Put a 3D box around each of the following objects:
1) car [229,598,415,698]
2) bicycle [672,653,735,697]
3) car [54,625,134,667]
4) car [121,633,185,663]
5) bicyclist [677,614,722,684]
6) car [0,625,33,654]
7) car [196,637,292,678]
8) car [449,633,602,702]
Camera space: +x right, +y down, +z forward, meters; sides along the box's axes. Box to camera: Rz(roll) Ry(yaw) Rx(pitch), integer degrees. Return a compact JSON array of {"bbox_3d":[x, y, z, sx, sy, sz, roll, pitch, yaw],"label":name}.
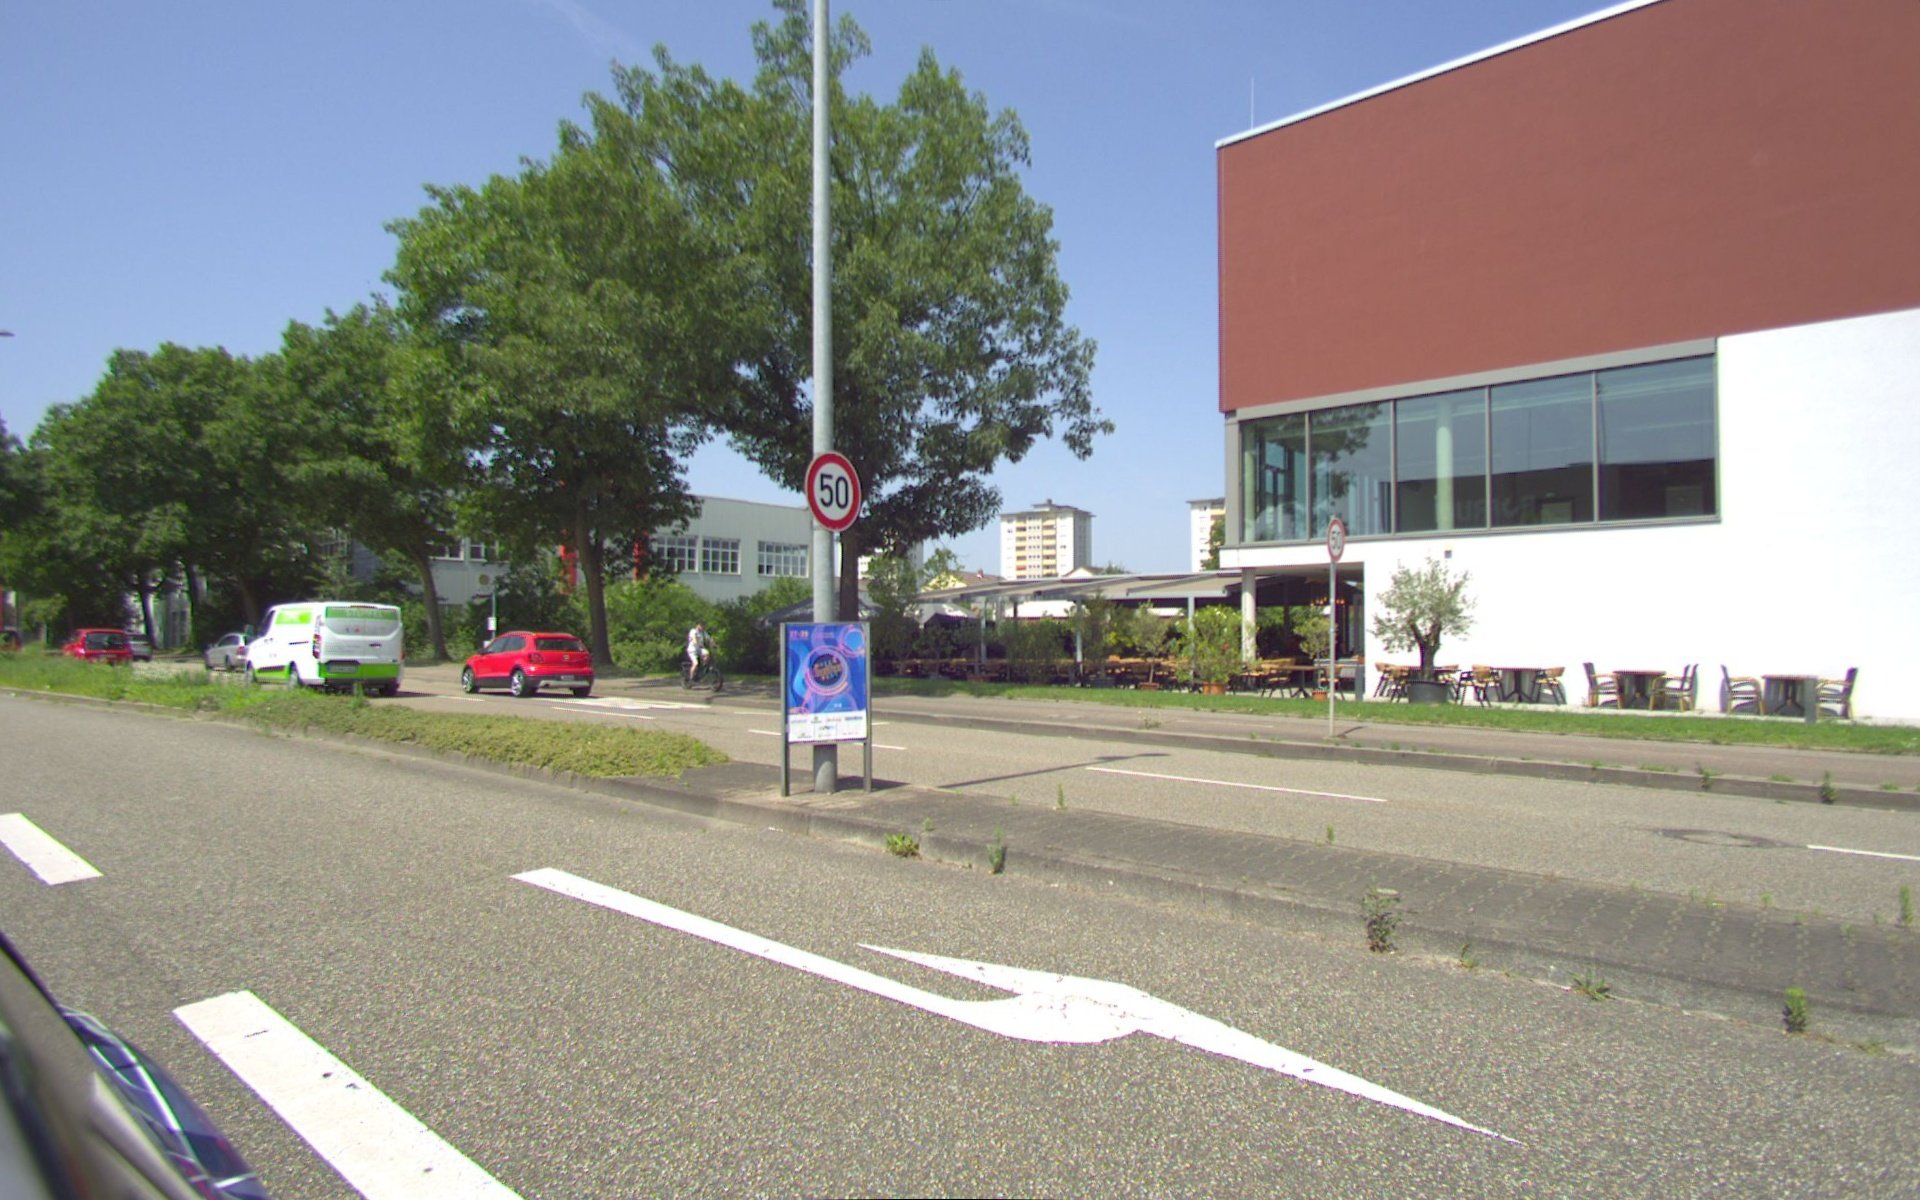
[{"bbox_3d":[-14.113,1.060,22.278,4.904,1.960,1.973,-2,-4,40],"label":"car"},{"bbox_3d":[-6.083,1.756,23.950,1.659,0.976,0.611,-2,-3,41],"label":"bicycle"},{"bbox_3d":[-31.718,1.681,37.035,3.605,1.452,1.564,-2,-4,39],"label":"car"},{"bbox_3d":[-41.246,2.449,51.719,4.130,1.462,1.731,-2,-5,41],"label":"car"},{"bbox_3d":[-6.203,1.156,24.071,0.923,1.643,0.601,-2,-3,41],"label":"bicyclist"},{"bbox_3d":[-54.452,2.243,57.747,4.150,1.582,1.731,-2,-5,41],"label":"car"},{"bbox_3d":[-26.684,2.126,37.678,4.356,1.415,1.759,-2,-5,40],"label":"car"},{"bbox_3d":[-10.134,1.536,23.522,3.889,1.464,1.688,-2,-5,41],"label":"car"}]
